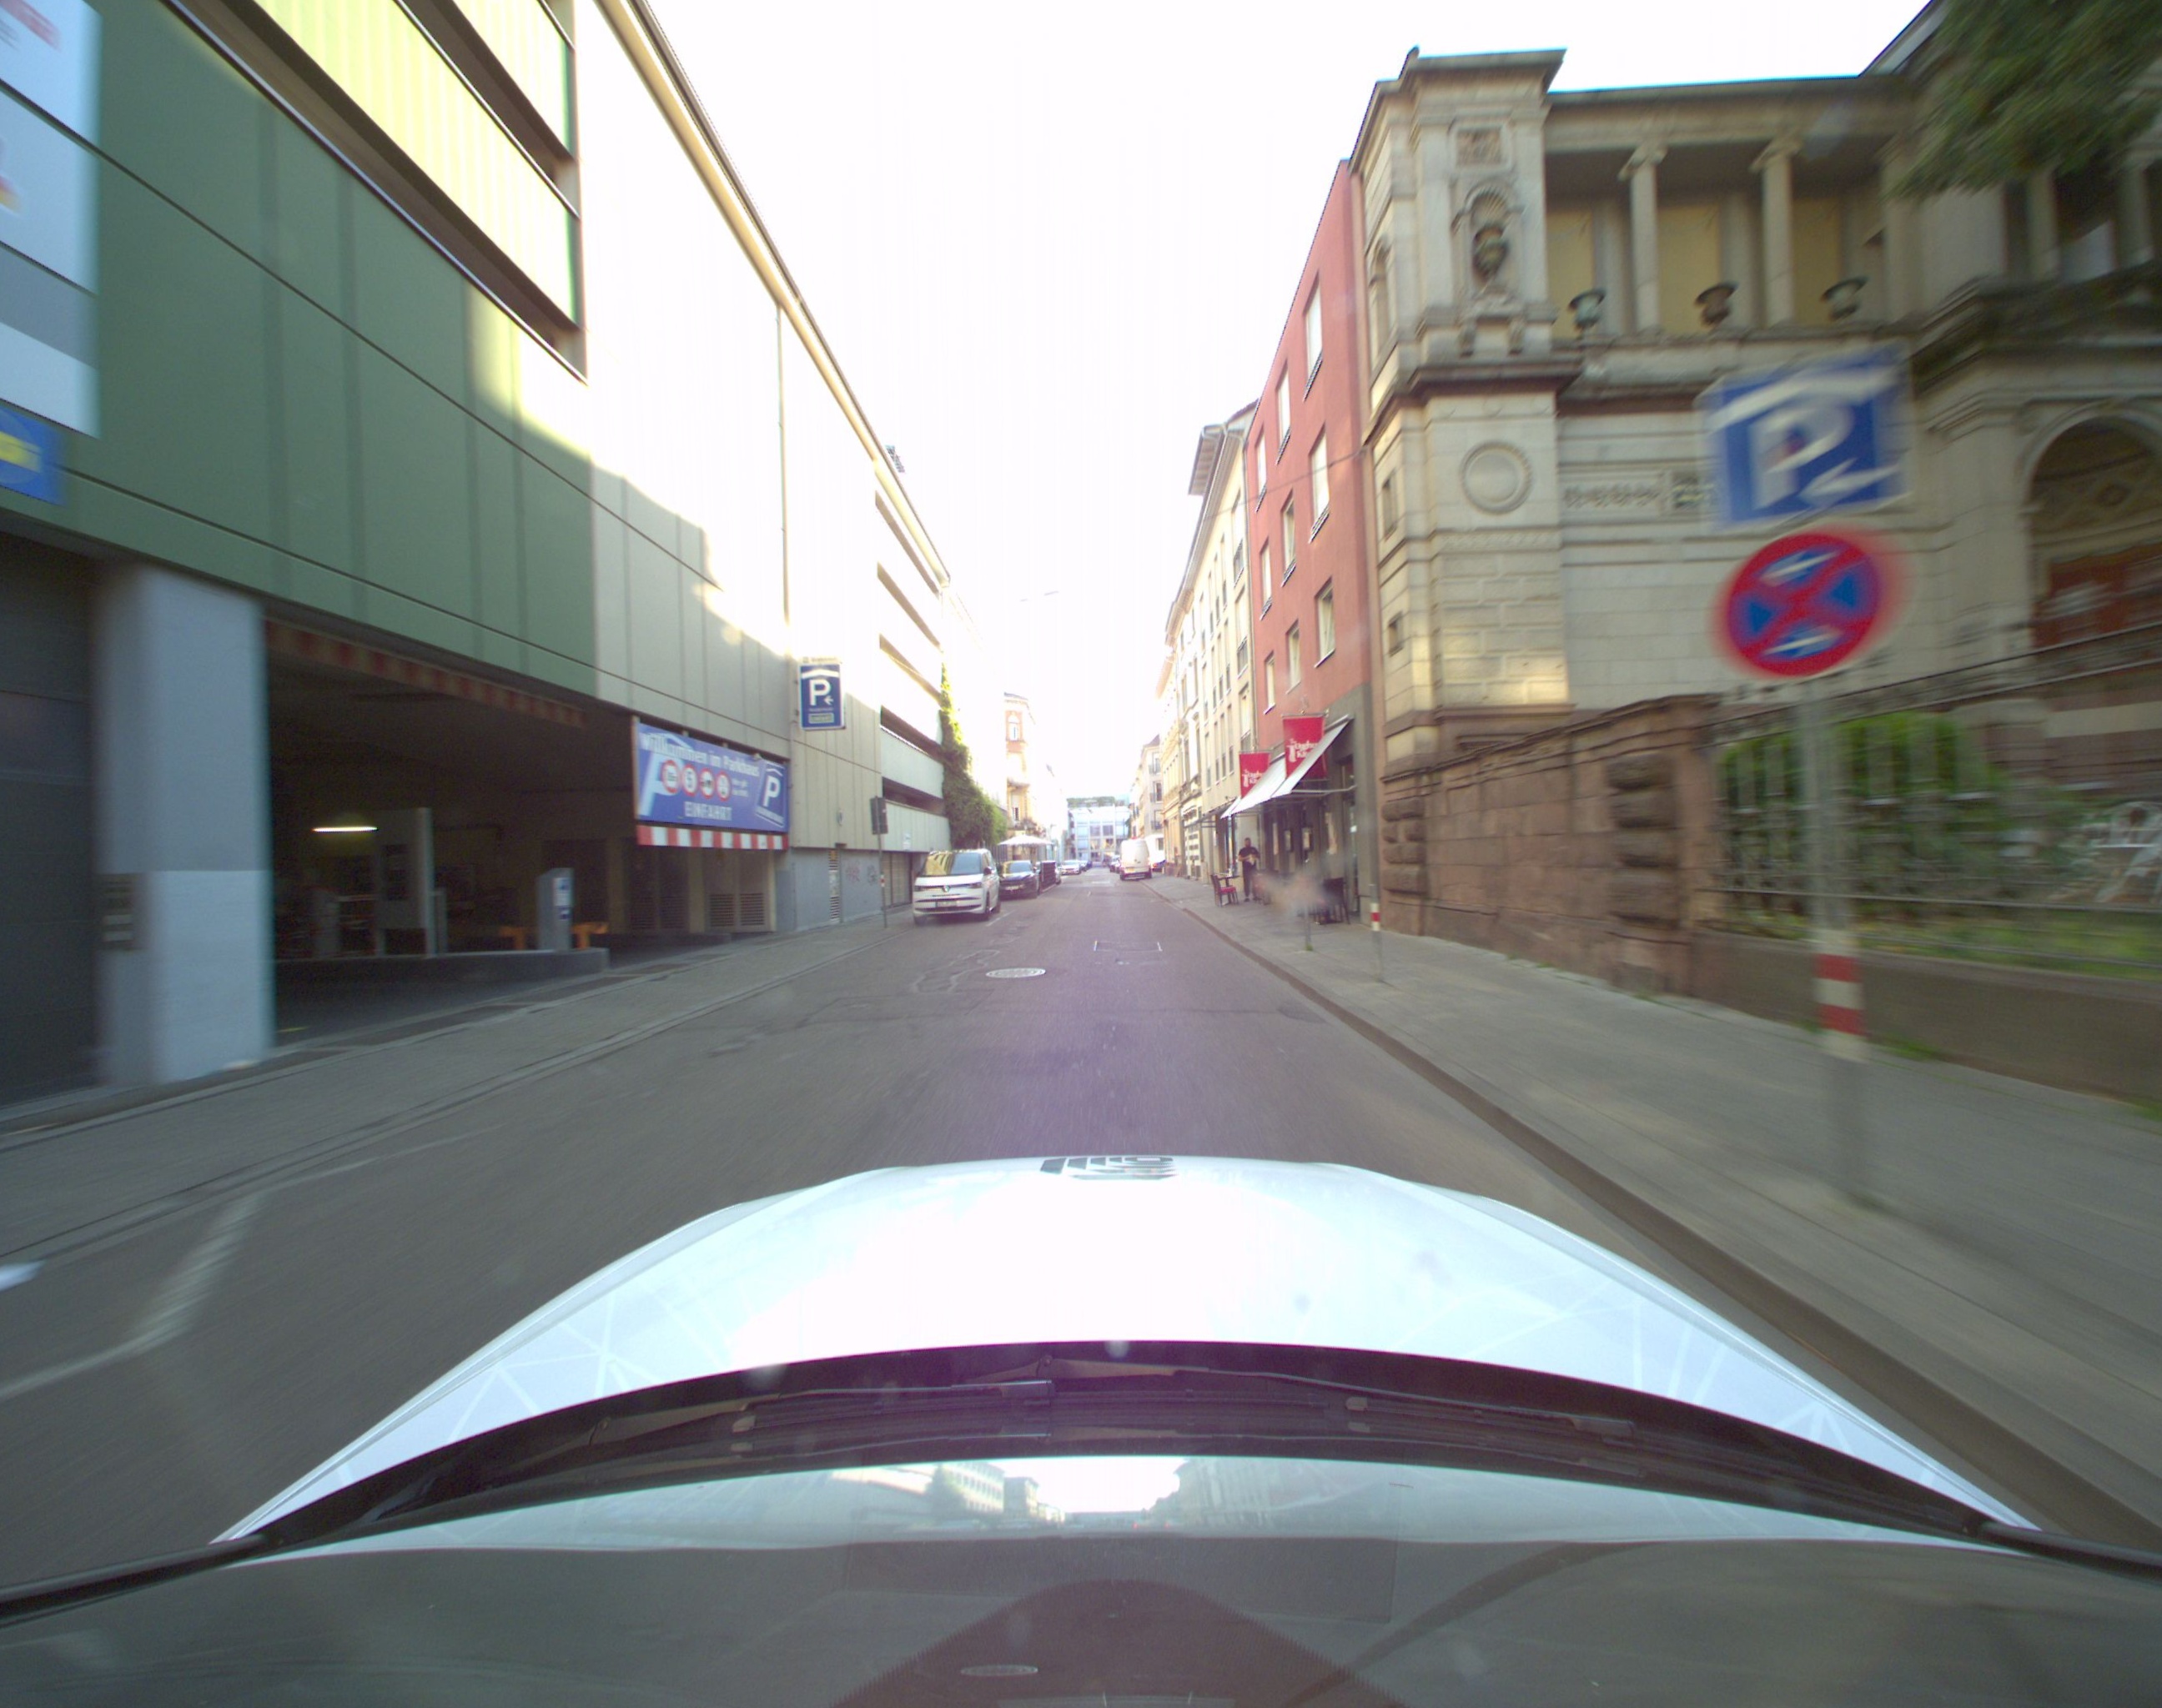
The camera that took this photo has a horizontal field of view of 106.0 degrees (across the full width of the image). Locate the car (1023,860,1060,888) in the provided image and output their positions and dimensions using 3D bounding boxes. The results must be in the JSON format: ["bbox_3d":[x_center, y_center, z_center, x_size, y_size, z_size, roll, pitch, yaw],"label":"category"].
[{"bbox_3d":[-2.257,1.128,47.153,1.877,1.453,3.999,-2,0,0],"label":"car"}]

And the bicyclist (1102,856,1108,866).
[{"bbox_3d":[4.478,1.318,151.363,0.986,1.869,0.708,-2,-1,1],"label":"bicyclist"}]

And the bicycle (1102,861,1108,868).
[{"bbox_3d":[4.507,2.022,151.426,0.971,1.280,2.755,-2,-1,2],"label":"bicycle"}]

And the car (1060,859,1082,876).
[{"bbox_3d":[-0.950,1.366,81.761,1.986,1.684,4.001,-2,-1,2],"label":"car"}]

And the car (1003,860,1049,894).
[{"bbox_3d":[-2.551,1.034,38.682,1.877,1.453,3.999,-2,0,0],"label":"car"}]

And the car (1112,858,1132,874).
[{"bbox_3d":[4.377,1.300,87.329,1.986,1.684,4.001,-2,-1,2],"label":"car"}]

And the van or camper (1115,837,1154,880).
[{"bbox_3d":[3.595,0.326,55.719,2.250,2.607,5.113,-6,-1,2],"label":"van or camper"}]

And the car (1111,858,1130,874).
[{"bbox_3d":[4.462,1.391,92.120,1.986,1.684,4.001,-2,-1,2],"label":"car"}]

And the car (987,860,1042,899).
[{"bbox_3d":[-2.681,0.995,33.797,1.877,1.453,3.999,-2,0,0],"label":"car"}]

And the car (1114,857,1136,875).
[{"bbox_3d":[4.333,1.164,80.275,1.986,1.684,4.001,-2,-1,2],"label":"car"}]

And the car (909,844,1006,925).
[{"bbox_3d":[-3.259,0.763,22.444,1.877,1.912,4.747,-2,0,0],"label":"car"}]

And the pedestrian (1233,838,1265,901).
[{"bbox_3d":[4.637,0.426,22.535,0.659,1.666,0.624,-4,-1,1],"label":"pedestrian"}]

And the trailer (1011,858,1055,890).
[{"bbox_3d":[-2.459,1.054,42.857,1.987,1.557,3.999,-2,-1,0],"label":"trailer"}]

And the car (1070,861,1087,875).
[{"bbox_3d":[-0.309,1.786,104.337,1.986,1.684,4.001,-2,-1,2],"label":"car"}]

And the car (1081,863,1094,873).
[{"bbox_3d":[1.036,2.329,134.515,1.986,1.684,4.001,-2,-1,2],"label":"car"}]

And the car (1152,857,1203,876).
[{"bbox_3d":[7.854,1.005,66.297,3.972,1.420,1.657,-2,-1,1],"label":"car"}]
